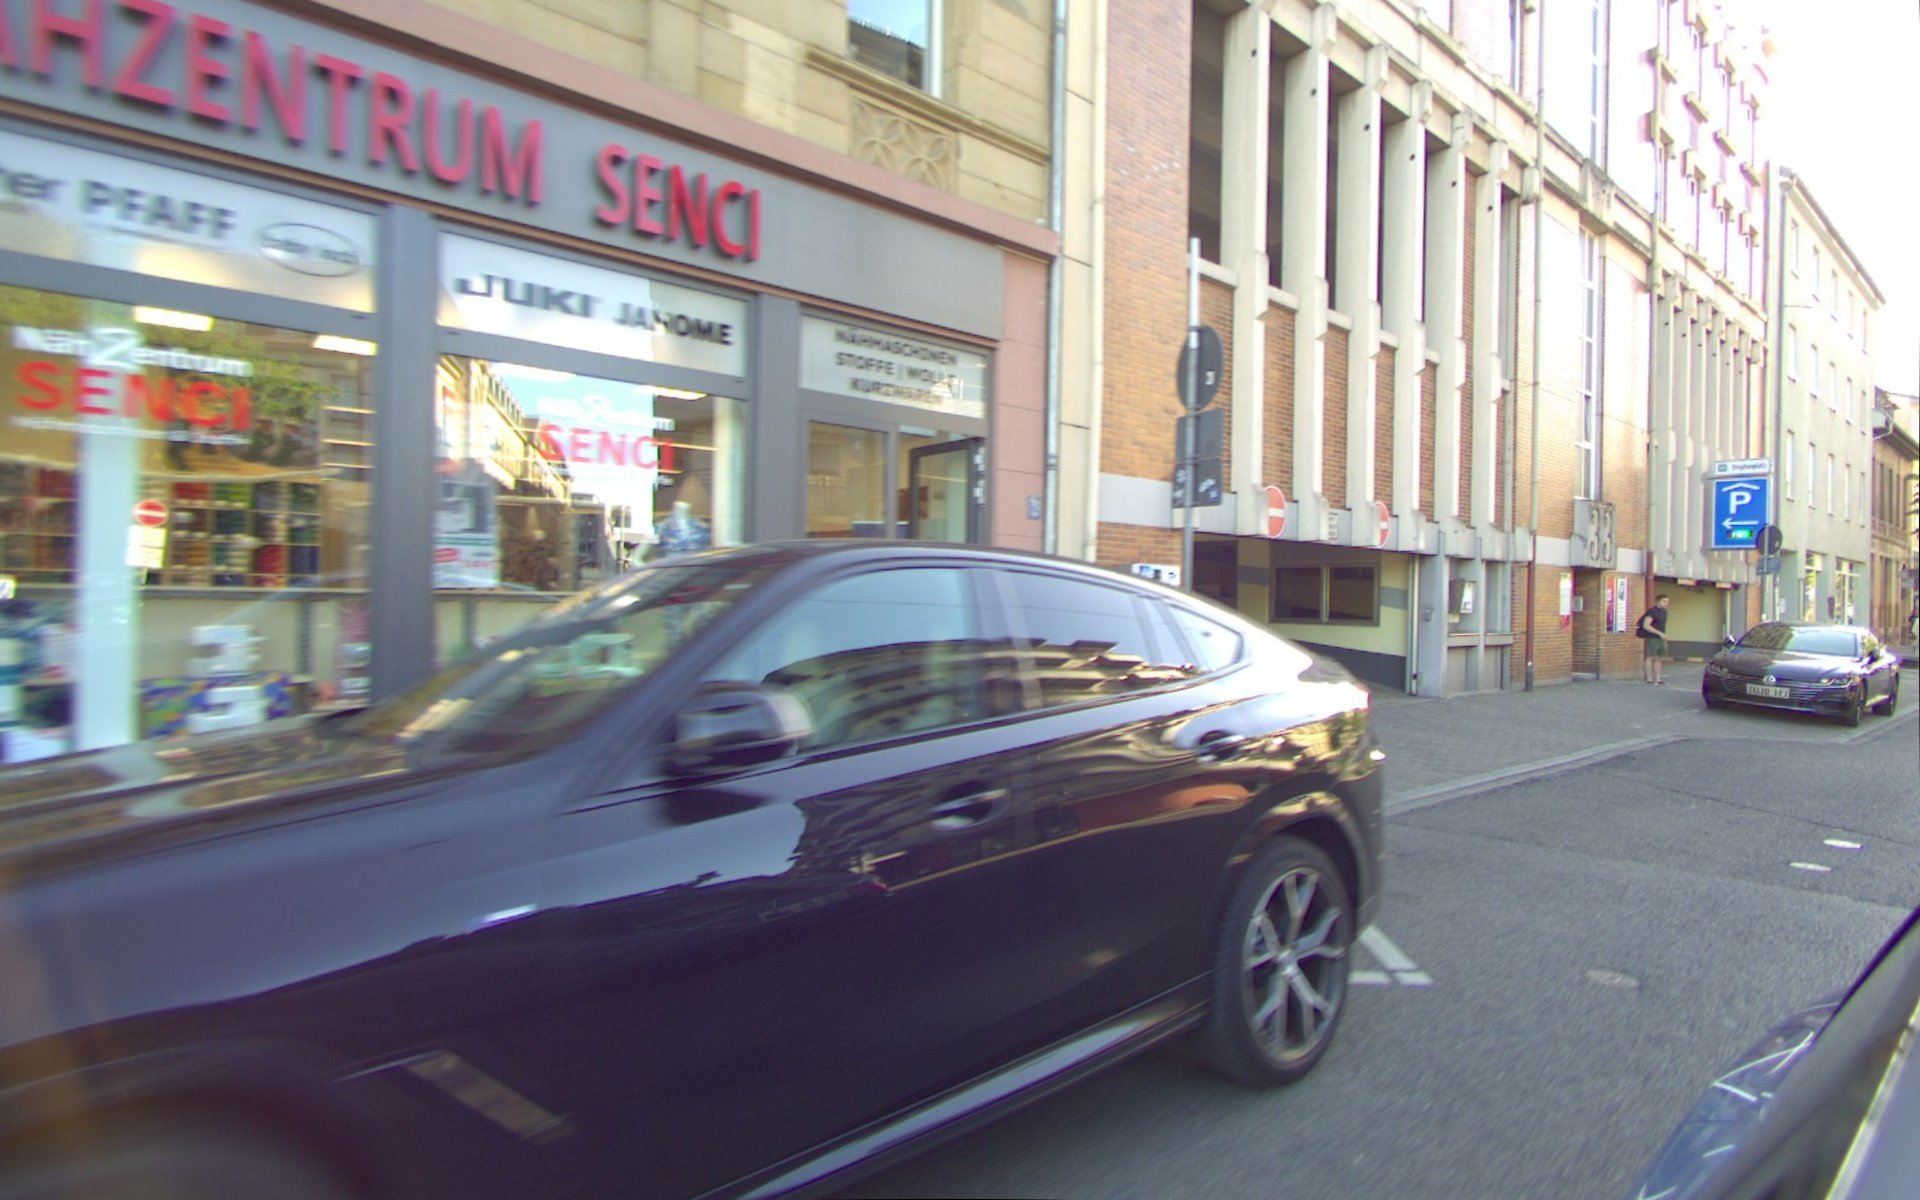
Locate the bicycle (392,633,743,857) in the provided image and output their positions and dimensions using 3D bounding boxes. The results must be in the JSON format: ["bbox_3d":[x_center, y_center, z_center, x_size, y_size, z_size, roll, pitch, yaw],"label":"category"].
[{"bbox_3d":[-2.240,0.775,5.989,1.908,1.098,0.358,0,3,-41],"label":"bicycle"}]

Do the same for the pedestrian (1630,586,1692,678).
[{"bbox_3d":[13.159,0.581,18.998,0.874,1.655,0.693,1,2,-41],"label":"pedestrian"}]

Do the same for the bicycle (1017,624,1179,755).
[{"bbox_3d":[1.293,0.774,9.229,1.759,1.057,0.358,0,3,-41],"label":"bicycle"}]

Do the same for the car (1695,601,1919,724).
[{"bbox_3d":[13.526,0.855,15.975,4.876,1.496,1.923,0,4,-40],"label":"car"}]

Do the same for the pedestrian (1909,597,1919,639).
[{"bbox_3d":[41.745,0.772,43.931,0.757,1.786,0.624,1,3,-39],"label":"pedestrian"}]

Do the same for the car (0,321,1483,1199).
[{"bbox_3d":[-0.493,0.568,2.990,4.738,1.747,1.977,1,-1,-40],"label":"car"}]
